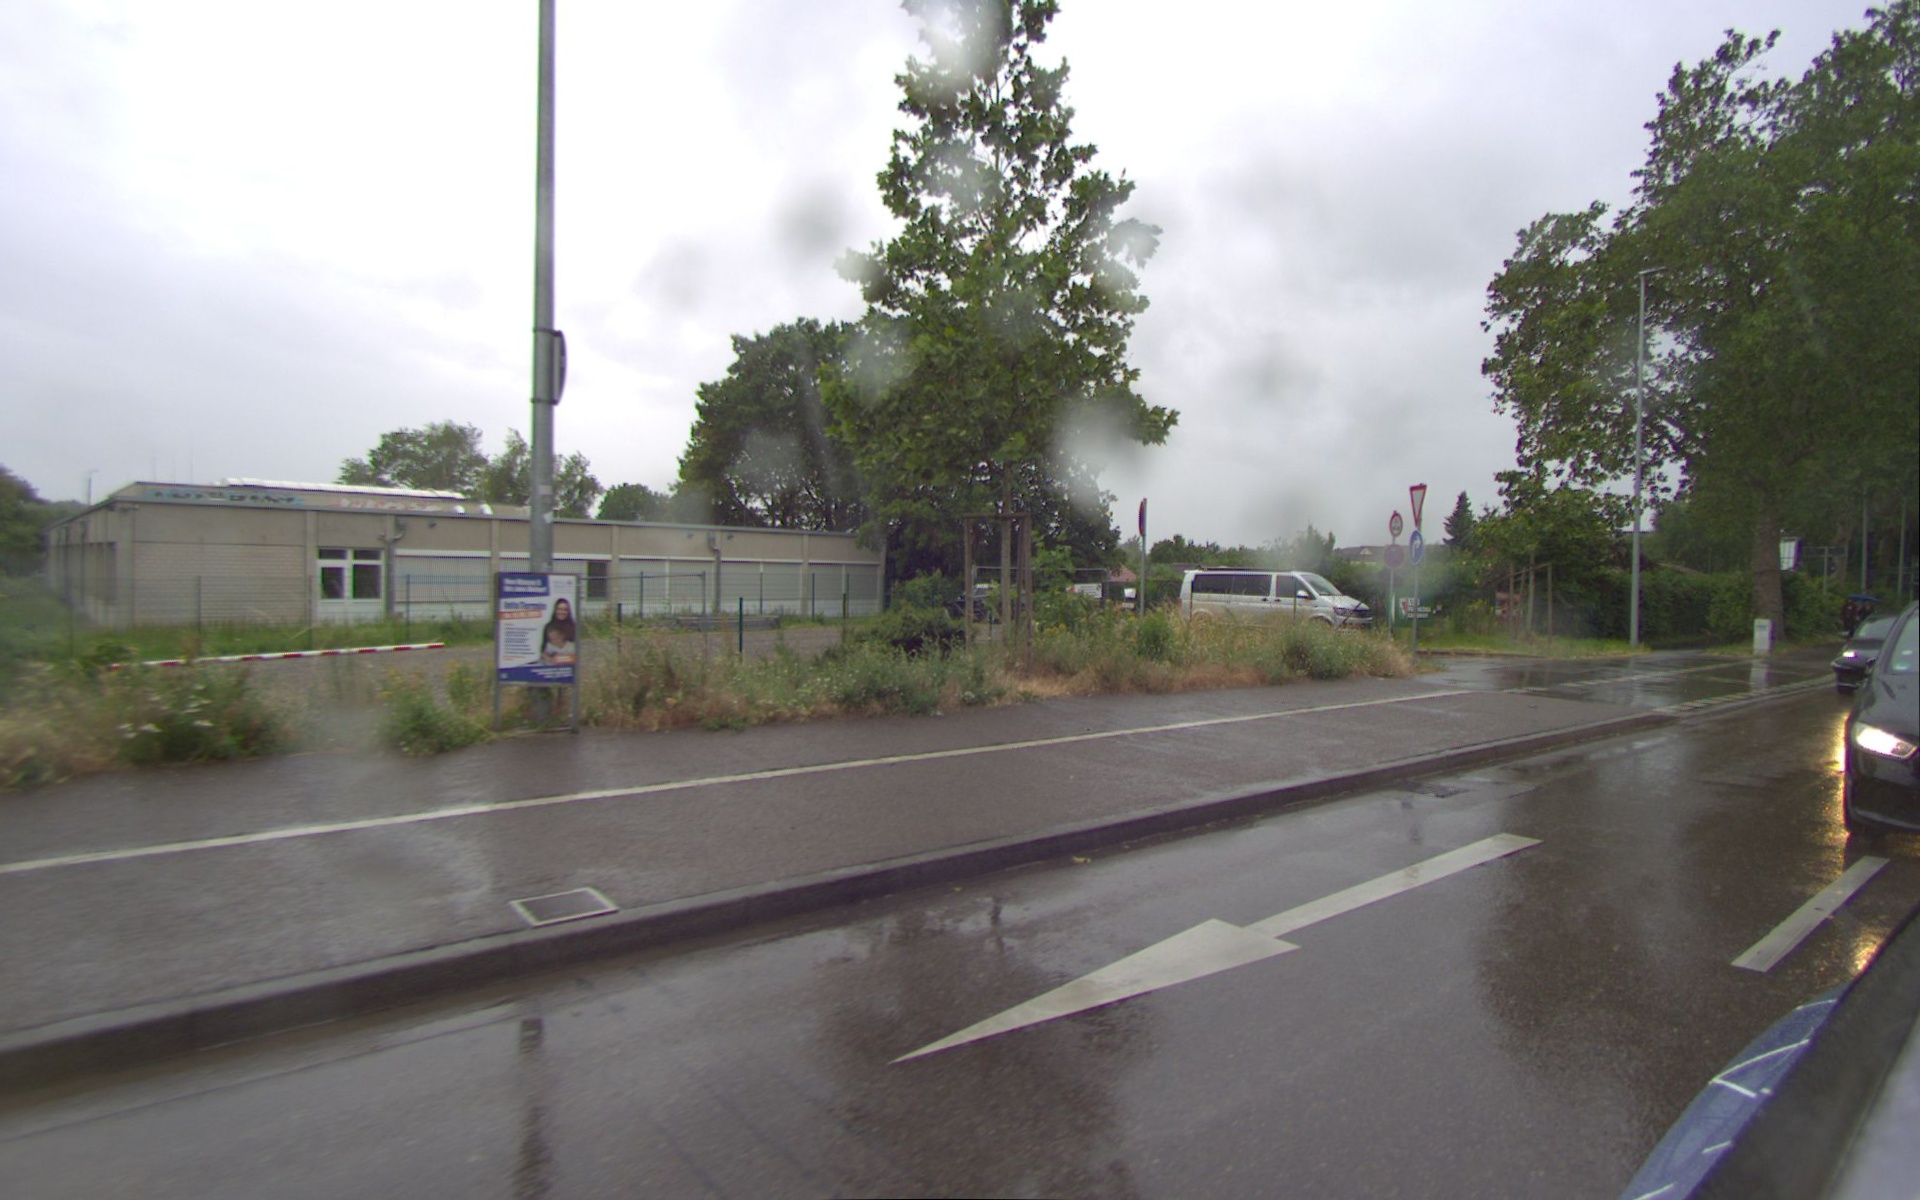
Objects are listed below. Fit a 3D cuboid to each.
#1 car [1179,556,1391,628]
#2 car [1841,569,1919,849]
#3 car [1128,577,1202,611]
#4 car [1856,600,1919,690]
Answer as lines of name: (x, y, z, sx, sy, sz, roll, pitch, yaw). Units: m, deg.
car: (8.690, -0.218, 27.410, 1.974, 1.747, 5.163, -1, 1, -45)
car: (7.357, 0.640, 6.808, 4.098, 1.601, 1.756, 0, 0, -43)
car: (10.083, -0.302, 49.893, 1.320, 1.604, 3.553, -1, 1, -38)
car: (16.686, 0.729, 17.377, 3.570, 1.383, 1.599, 0, 2, -43)
